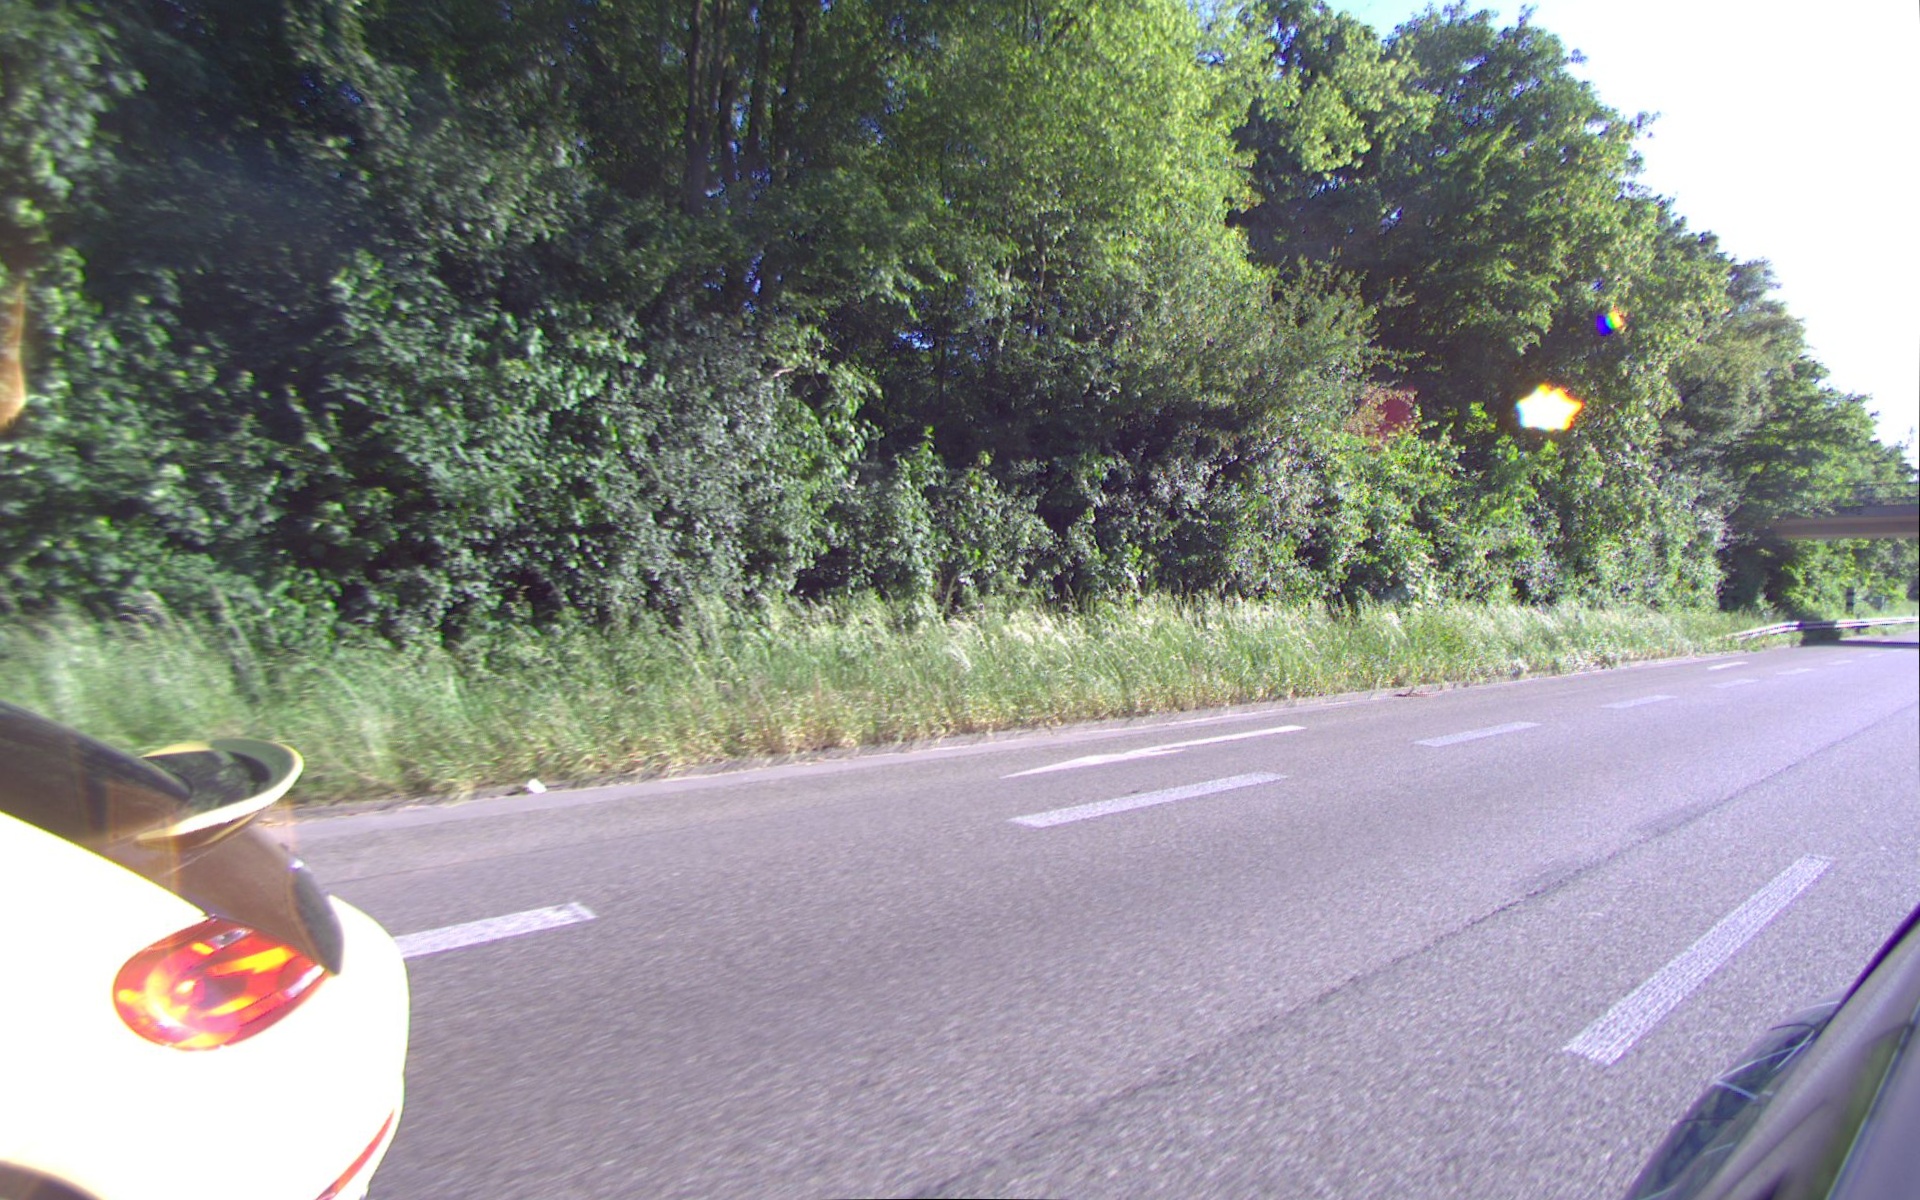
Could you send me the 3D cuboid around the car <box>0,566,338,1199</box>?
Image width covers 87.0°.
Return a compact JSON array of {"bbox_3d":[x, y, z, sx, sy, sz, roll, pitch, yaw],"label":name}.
[{"bbox_3d":[-3.279,0.680,1.003,4.281,1.480,1.882,0,1,-42],"label":"car"}]
